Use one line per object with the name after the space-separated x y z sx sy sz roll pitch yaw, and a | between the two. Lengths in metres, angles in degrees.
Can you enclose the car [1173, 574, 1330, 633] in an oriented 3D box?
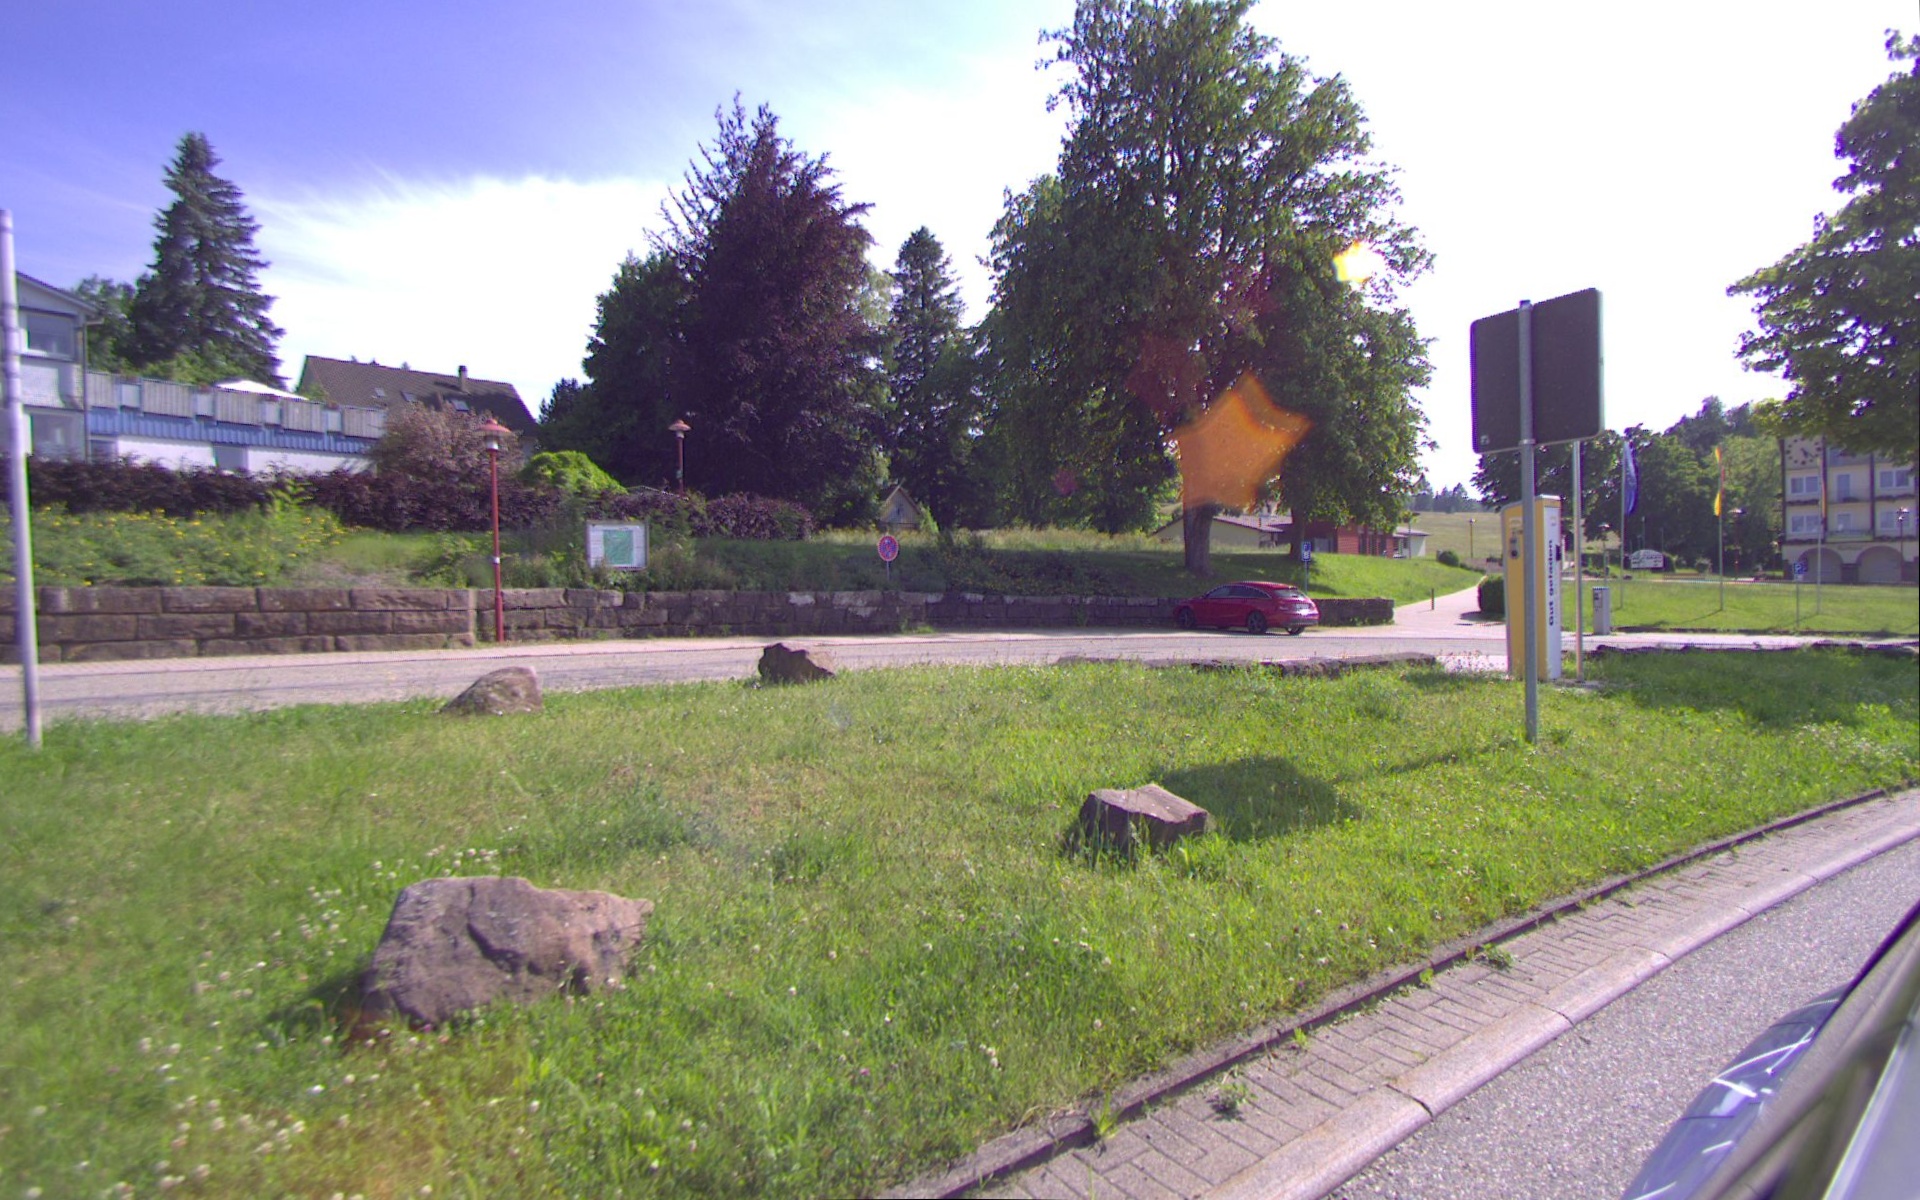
8.163 0.054 28.744 1.668 1.446 4.271 0 2 -31 | car
